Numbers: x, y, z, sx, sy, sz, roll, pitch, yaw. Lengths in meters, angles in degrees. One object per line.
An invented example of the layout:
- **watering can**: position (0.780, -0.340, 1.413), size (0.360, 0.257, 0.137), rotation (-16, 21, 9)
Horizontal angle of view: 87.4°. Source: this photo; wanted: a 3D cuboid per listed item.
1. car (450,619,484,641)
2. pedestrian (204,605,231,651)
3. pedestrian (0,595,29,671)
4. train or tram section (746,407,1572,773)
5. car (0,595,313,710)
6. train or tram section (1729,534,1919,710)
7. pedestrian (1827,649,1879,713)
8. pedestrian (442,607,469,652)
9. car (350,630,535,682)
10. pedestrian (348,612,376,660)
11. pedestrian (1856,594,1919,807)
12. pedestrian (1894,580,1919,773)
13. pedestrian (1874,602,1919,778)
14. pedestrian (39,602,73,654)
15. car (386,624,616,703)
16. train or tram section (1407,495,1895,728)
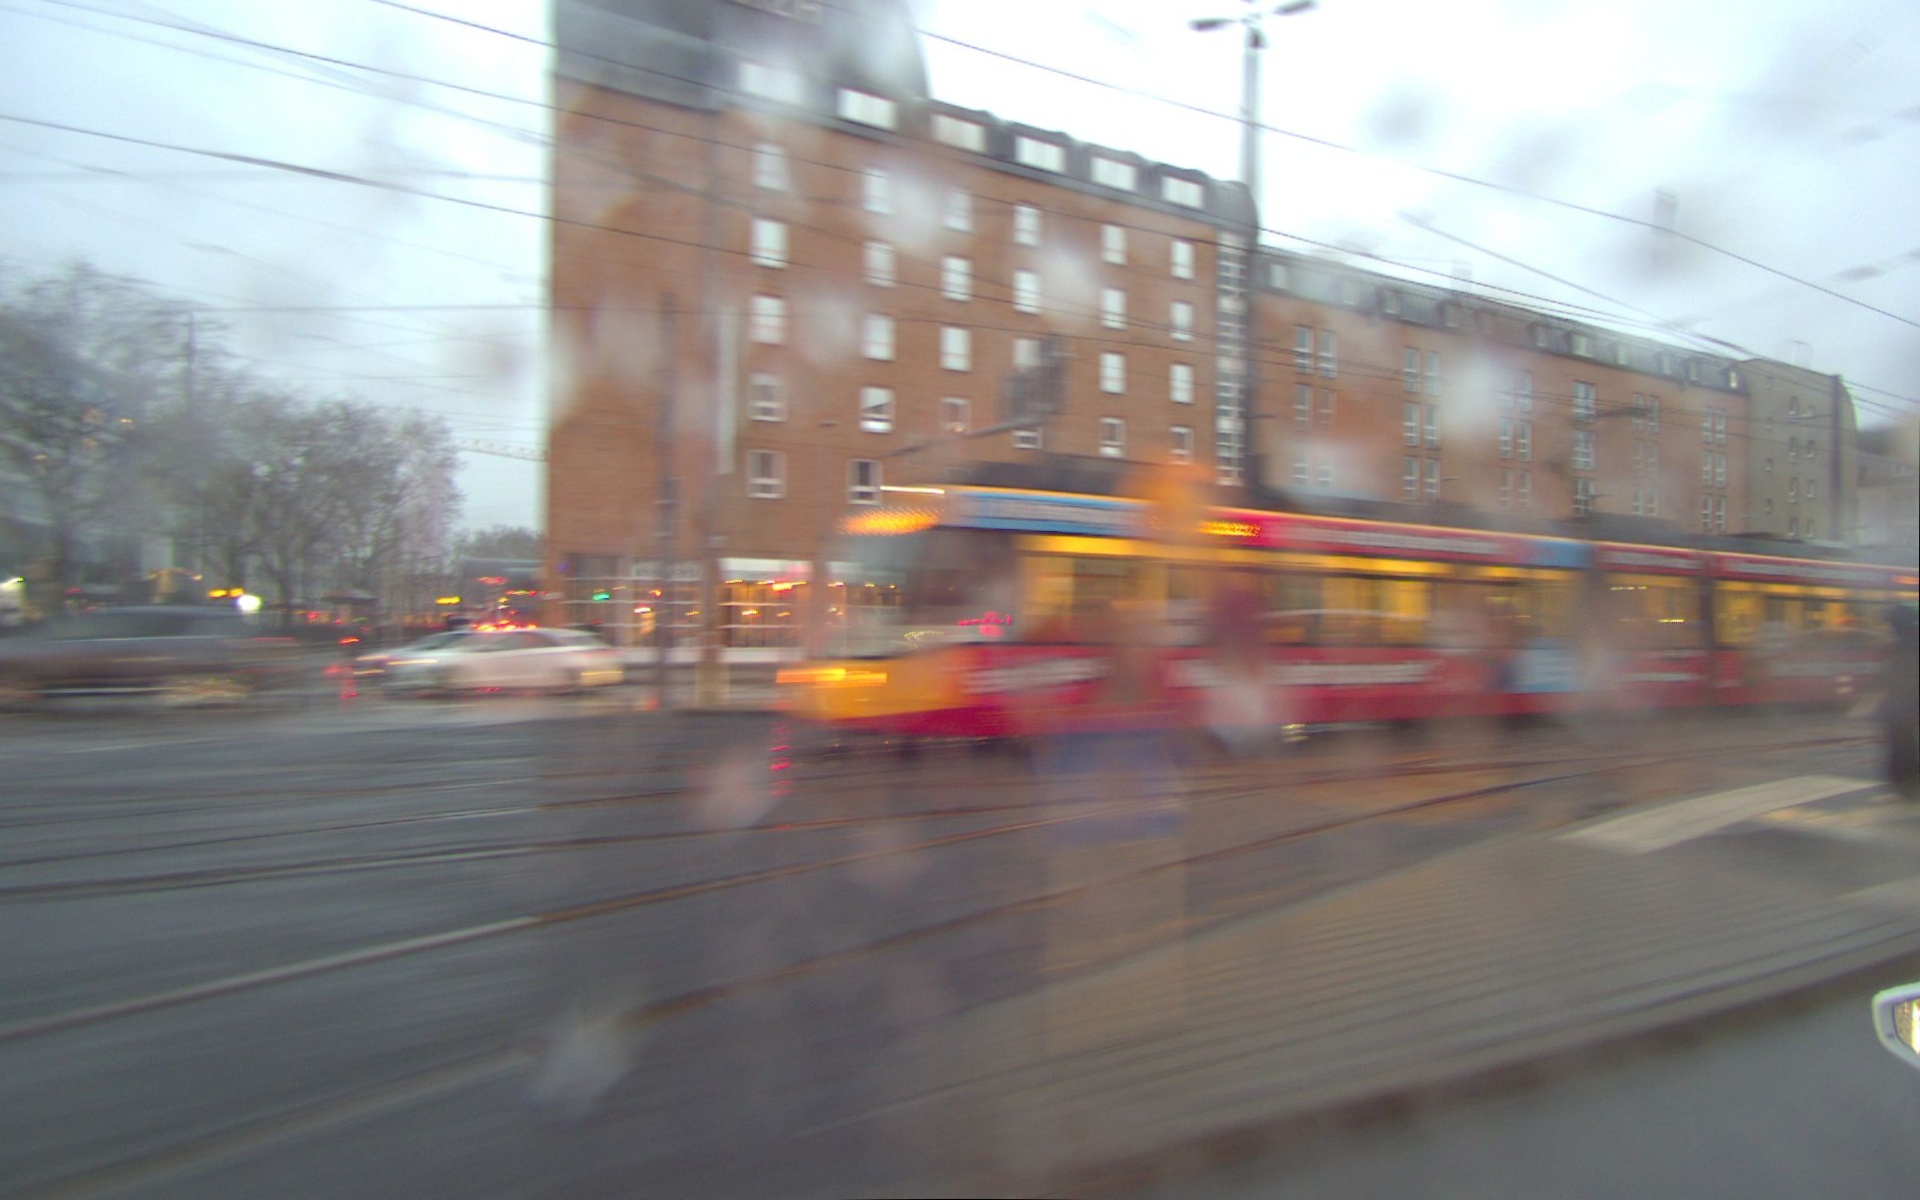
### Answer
- **car**: position (-40.963, 2.507, 83.564), size (2.075, 1.806, 3.690), rotation (1, -2, -19)
- **pedestrian**: position (-33.734, 1.286, 45.643), size (0.709, 2.040, 0.743), rotation (1, -2, -20)
- **pedestrian**: position (-26.086, 0.901, 27.311), size (0.744, 2.040, 0.800), rotation (1, -1, -1)
- **train or tram section**: position (3.383, 0.041, 14.062), size (12.097, 3.637, 2.939), rotation (2, 0, -27)
- **car**: position (-13.594, 0.845, 16.625), size (4.646, 1.732, 1.822), rotation (2, -1, -28)
- **train or tram section**: position (23.345, 0.572, 24.468), size (10.893, 3.615, 2.889), rotation (2, 0, -27)
- **pedestrian**: position (17.114, 1.540, 19.258), size (0.483, 1.168, 0.578), rotation (1, 0, -25)
- **pedestrian**: position (-23.012, 1.349, 45.805), size (0.922, 2.040, 0.756), rotation (0, -2, 40)
- **car**: position (-13.780, 1.497, 27.016), size (4.160, 1.339, 1.611), rotation (1, -2, -17)
- **pedestrian**: position (-24.631, 1.475, 41.387), size (0.774, 1.925, 0.836), rotation (1, -2, -19)
- **pedestrian**: position (8.165, 0.862, 8.800), size (0.435, 1.810, 0.357), rotation (2, -1, -32)
- **pedestrian**: position (10.177, 0.800, 10.550), size (0.468, 1.993, 0.431), rotation (2, -1, -32)
- **pedestrian**: position (9.708, 0.906, 10.267), size (0.468, 1.758, 0.431), rotation (2, -1, -32)
- **pedestrian**: position (-35.884, 1.126, 39.870), size (0.709, 2.040, 0.743), rotation (1, -2, -20)
- **car**: position (-9.995, 1.351, 22.095), size (4.386, 1.576, 1.823), rotation (2, -1, -26)
- **train or tram section**: position (13.628, 0.301, 19.399), size (10.893, 3.626, 2.914), rotation (2, 0, -27)
